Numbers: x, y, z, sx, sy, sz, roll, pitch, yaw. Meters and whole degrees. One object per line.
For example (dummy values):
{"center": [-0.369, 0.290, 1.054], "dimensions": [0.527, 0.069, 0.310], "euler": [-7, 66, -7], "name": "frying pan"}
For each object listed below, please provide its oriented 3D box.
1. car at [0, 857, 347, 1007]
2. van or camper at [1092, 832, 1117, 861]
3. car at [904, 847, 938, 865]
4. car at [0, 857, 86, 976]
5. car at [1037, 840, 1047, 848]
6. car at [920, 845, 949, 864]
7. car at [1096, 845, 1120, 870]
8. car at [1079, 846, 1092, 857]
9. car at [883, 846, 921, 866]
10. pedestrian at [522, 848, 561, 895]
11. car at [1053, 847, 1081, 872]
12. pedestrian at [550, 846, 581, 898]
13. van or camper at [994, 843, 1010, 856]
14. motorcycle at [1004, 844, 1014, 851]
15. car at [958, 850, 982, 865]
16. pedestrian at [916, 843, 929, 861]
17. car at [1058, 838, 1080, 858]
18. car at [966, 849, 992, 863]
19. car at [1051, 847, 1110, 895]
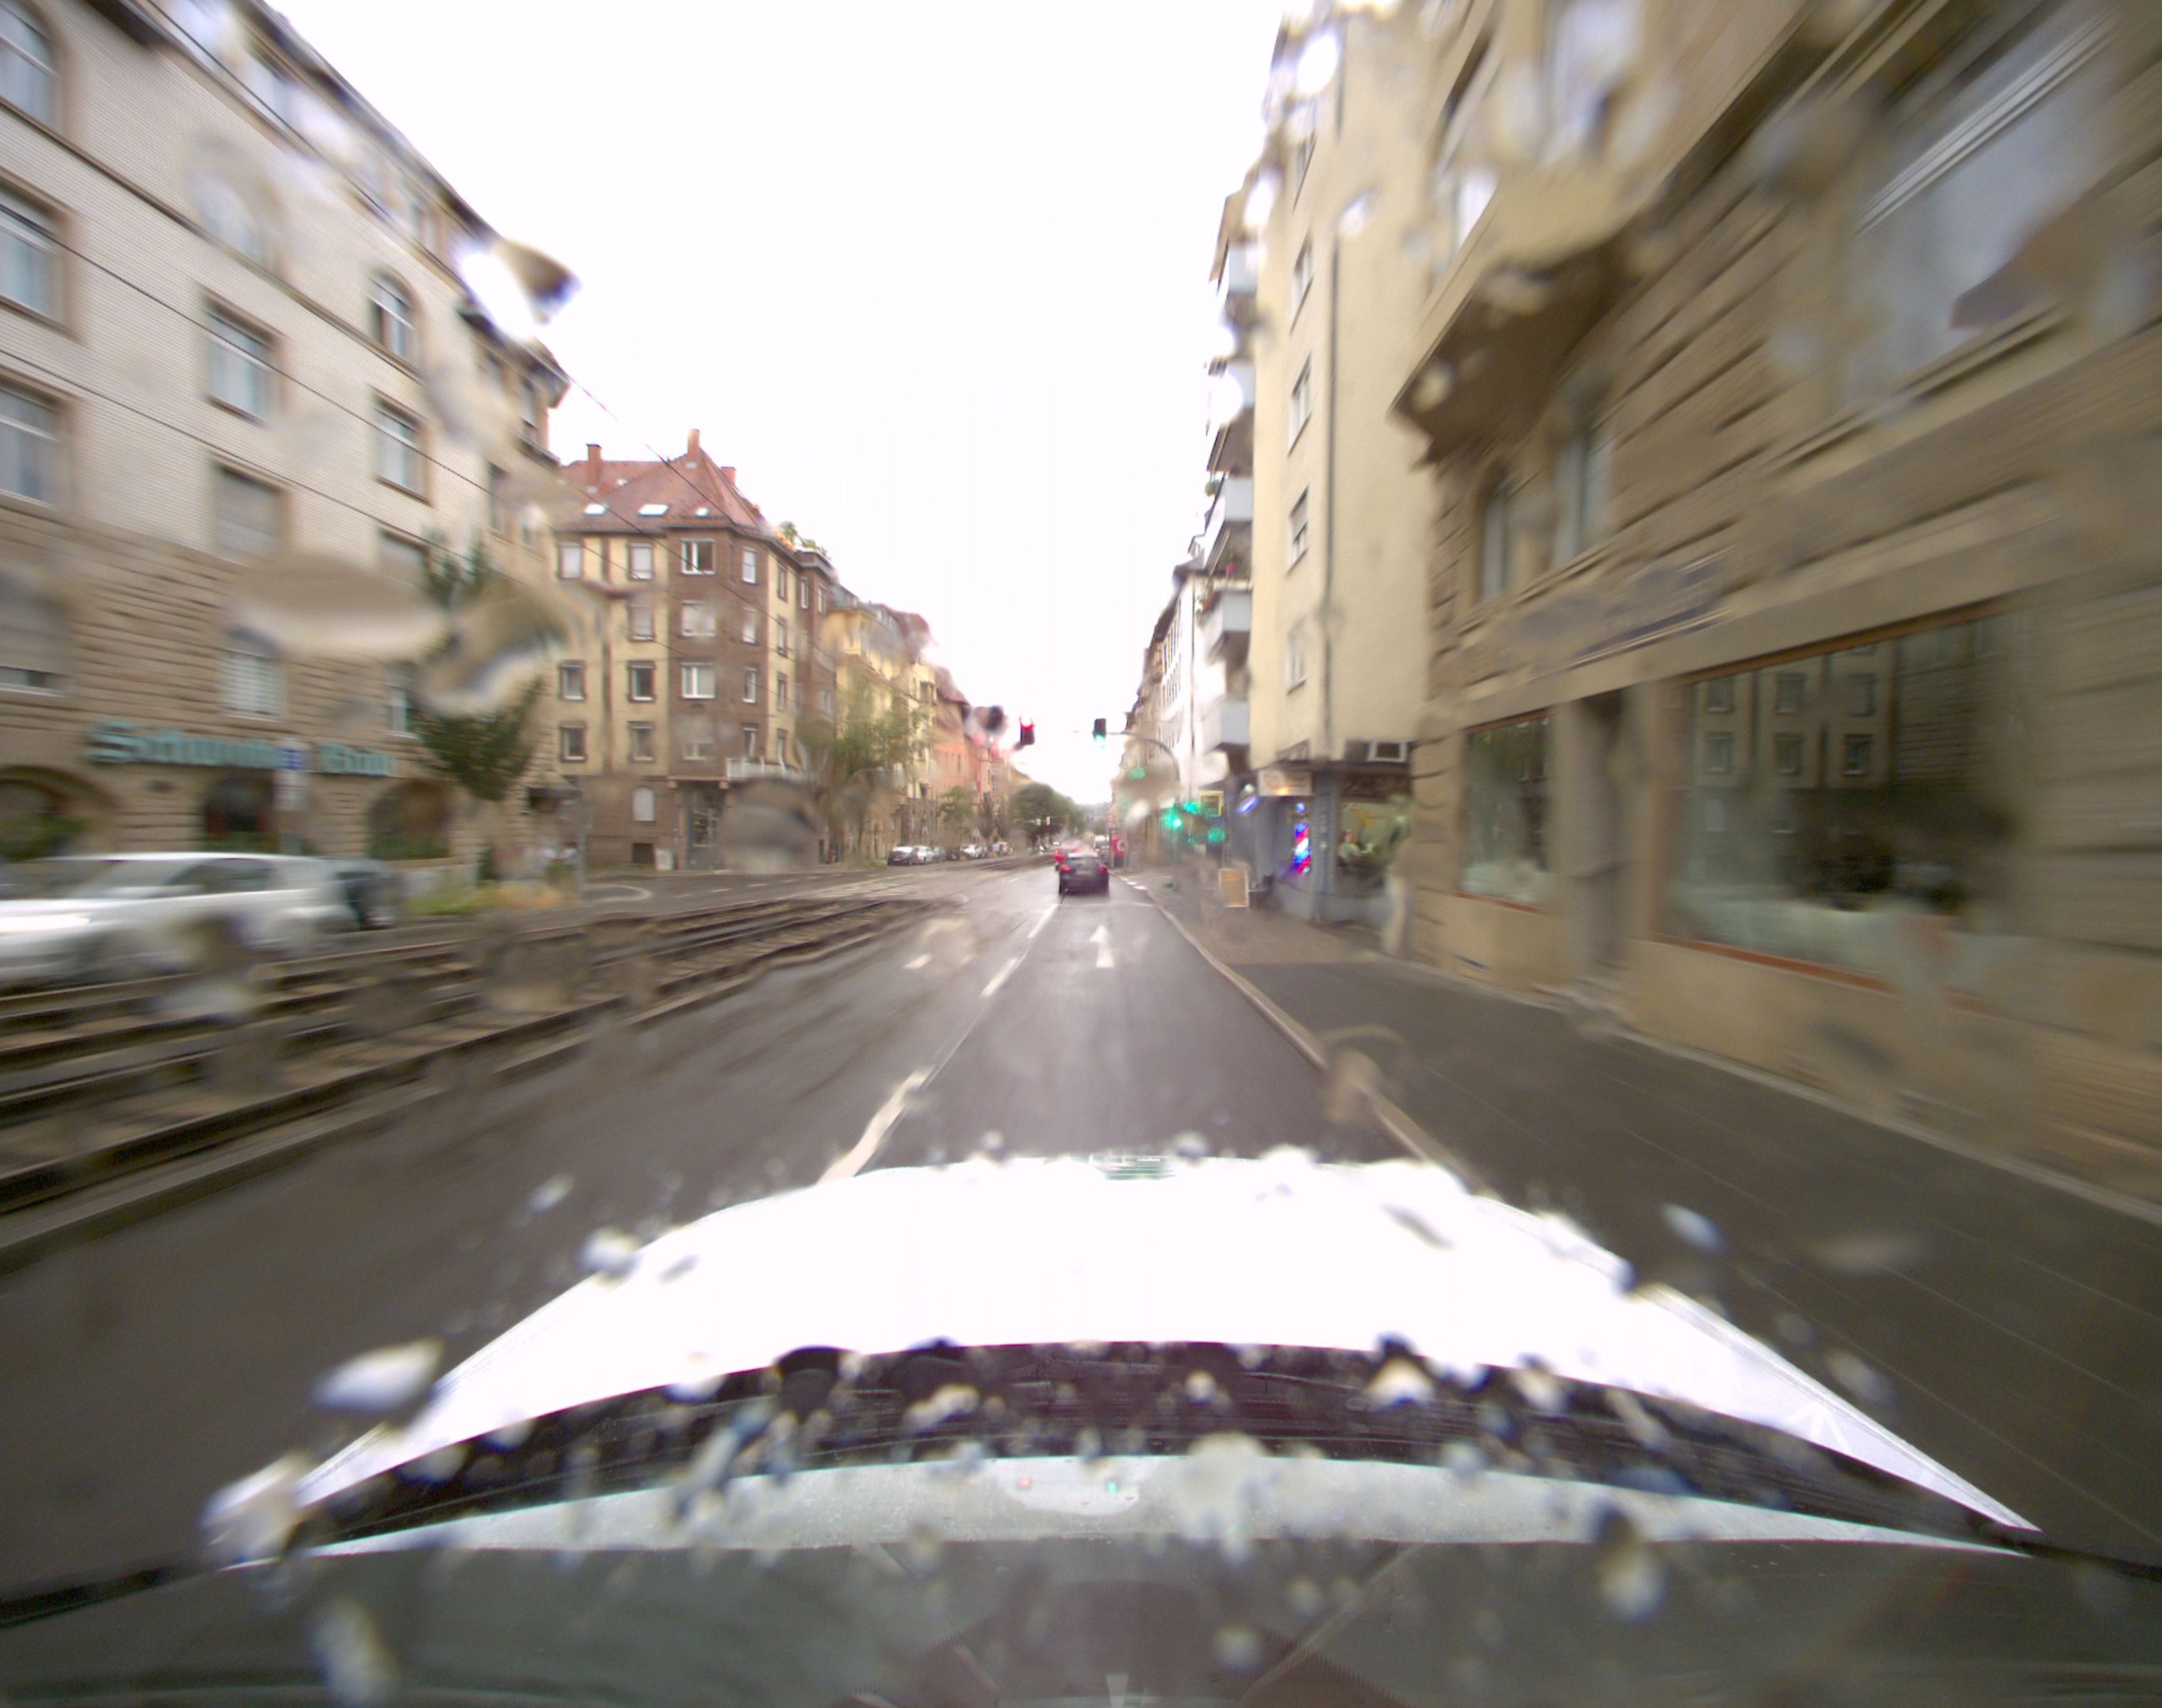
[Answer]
{"center": [-11.448, 0.795, 9.982], "dimensions": [1.621, 1.482, 3.581], "euler": [0, 0, 0], "name": "car"}
{"center": [2.094, -0.628, 71.826], "dimensions": [2.057, 2.469, 6.121], "euler": [0, 0, 2], "name": "van or camper"}
{"center": [-12.886, 0.123, 65.728], "dimensions": [1.660, 1.426, 4.266], "euler": [0, 1, 3], "name": "car"}
{"center": [-14.612, 0.790, 9.415], "dimensions": [1.800, 1.498, 3.527], "euler": [1, 0, 1], "name": "car"}
{"center": [-9.699, -2.515, 203.110], "dimensions": [1.986, 1.793, 4.002], "euler": [1, 1, 2], "name": "car"}
{"center": [-12.806, 0.046, 71.550], "dimensions": [1.554, 1.437, 4.151], "euler": [-2, 3, 3], "name": "car"}
{"center": [2.091, 0.253, 63.337], "dimensions": [1.762, 1.808, 4.484], "euler": [1, 1, 1], "name": "car"}
{"center": [0.766, -0.379, 124.250], "dimensions": [1.895, 1.593, 4.001], "euler": [-1, 0, 1], "name": "car"}
{"center": [-13.298, 0.137, 60.656], "dimensions": [1.758, 1.486, 4.002], "euler": [0, 0, 2], "name": "car"}
{"center": [-16.660, 0.525, 25.154], "dimensions": [0.751, 1.422, 0.646], "euler": [0, 0, 3], "name": "pedestrian"}
{"center": [-0.838, 0.306, 50.338], "dimensions": [1.530, 1.510, 4.002], "euler": [1, 0, 2], "name": "car"}
{"center": [-15.912, 0.559, 25.140], "dimensions": [0.515, 1.570, 0.644], "euler": [-1, -1, 4], "name": "pedestrian"}
{"center": [-11.774, -0.620, 121.241], "dimensions": [1.987, 1.901, 4.697], "euler": [0, 0, -1], "name": "van or camper"}
{"center": [-11.636, -1.044, 131.332], "dimensions": [1.423, 1.134, 0.624], "euler": [1, 0, 31], "name": "motorcycle"}
{"center": [-12.287, 0.372, 90.580], "dimensions": [1.776, 1.589, 4.356], "euler": [0, 0, 4], "name": "car"}
{"center": [-15.221, -0.187, 78.234], "dimensions": [1.003, 1.753, 0.925], "euler": [1, 1, 3], "name": "pedestrian"}
{"center": [-1.075, -0.529, 72.612], "dimensions": [1.916, 1.655, 3.998], "euler": [-1, 2, -2], "name": "car"}
{"center": [-12.024, 0.256, 96.267], "dimensions": [1.984, 1.509, 4.981], "euler": [2, 1, 4], "name": "car"}
{"center": [0.006, 0.562, 28.991], "dimensions": [1.939, 1.564, 3.643], "euler": [-1, 0, 0], "name": "car"}
